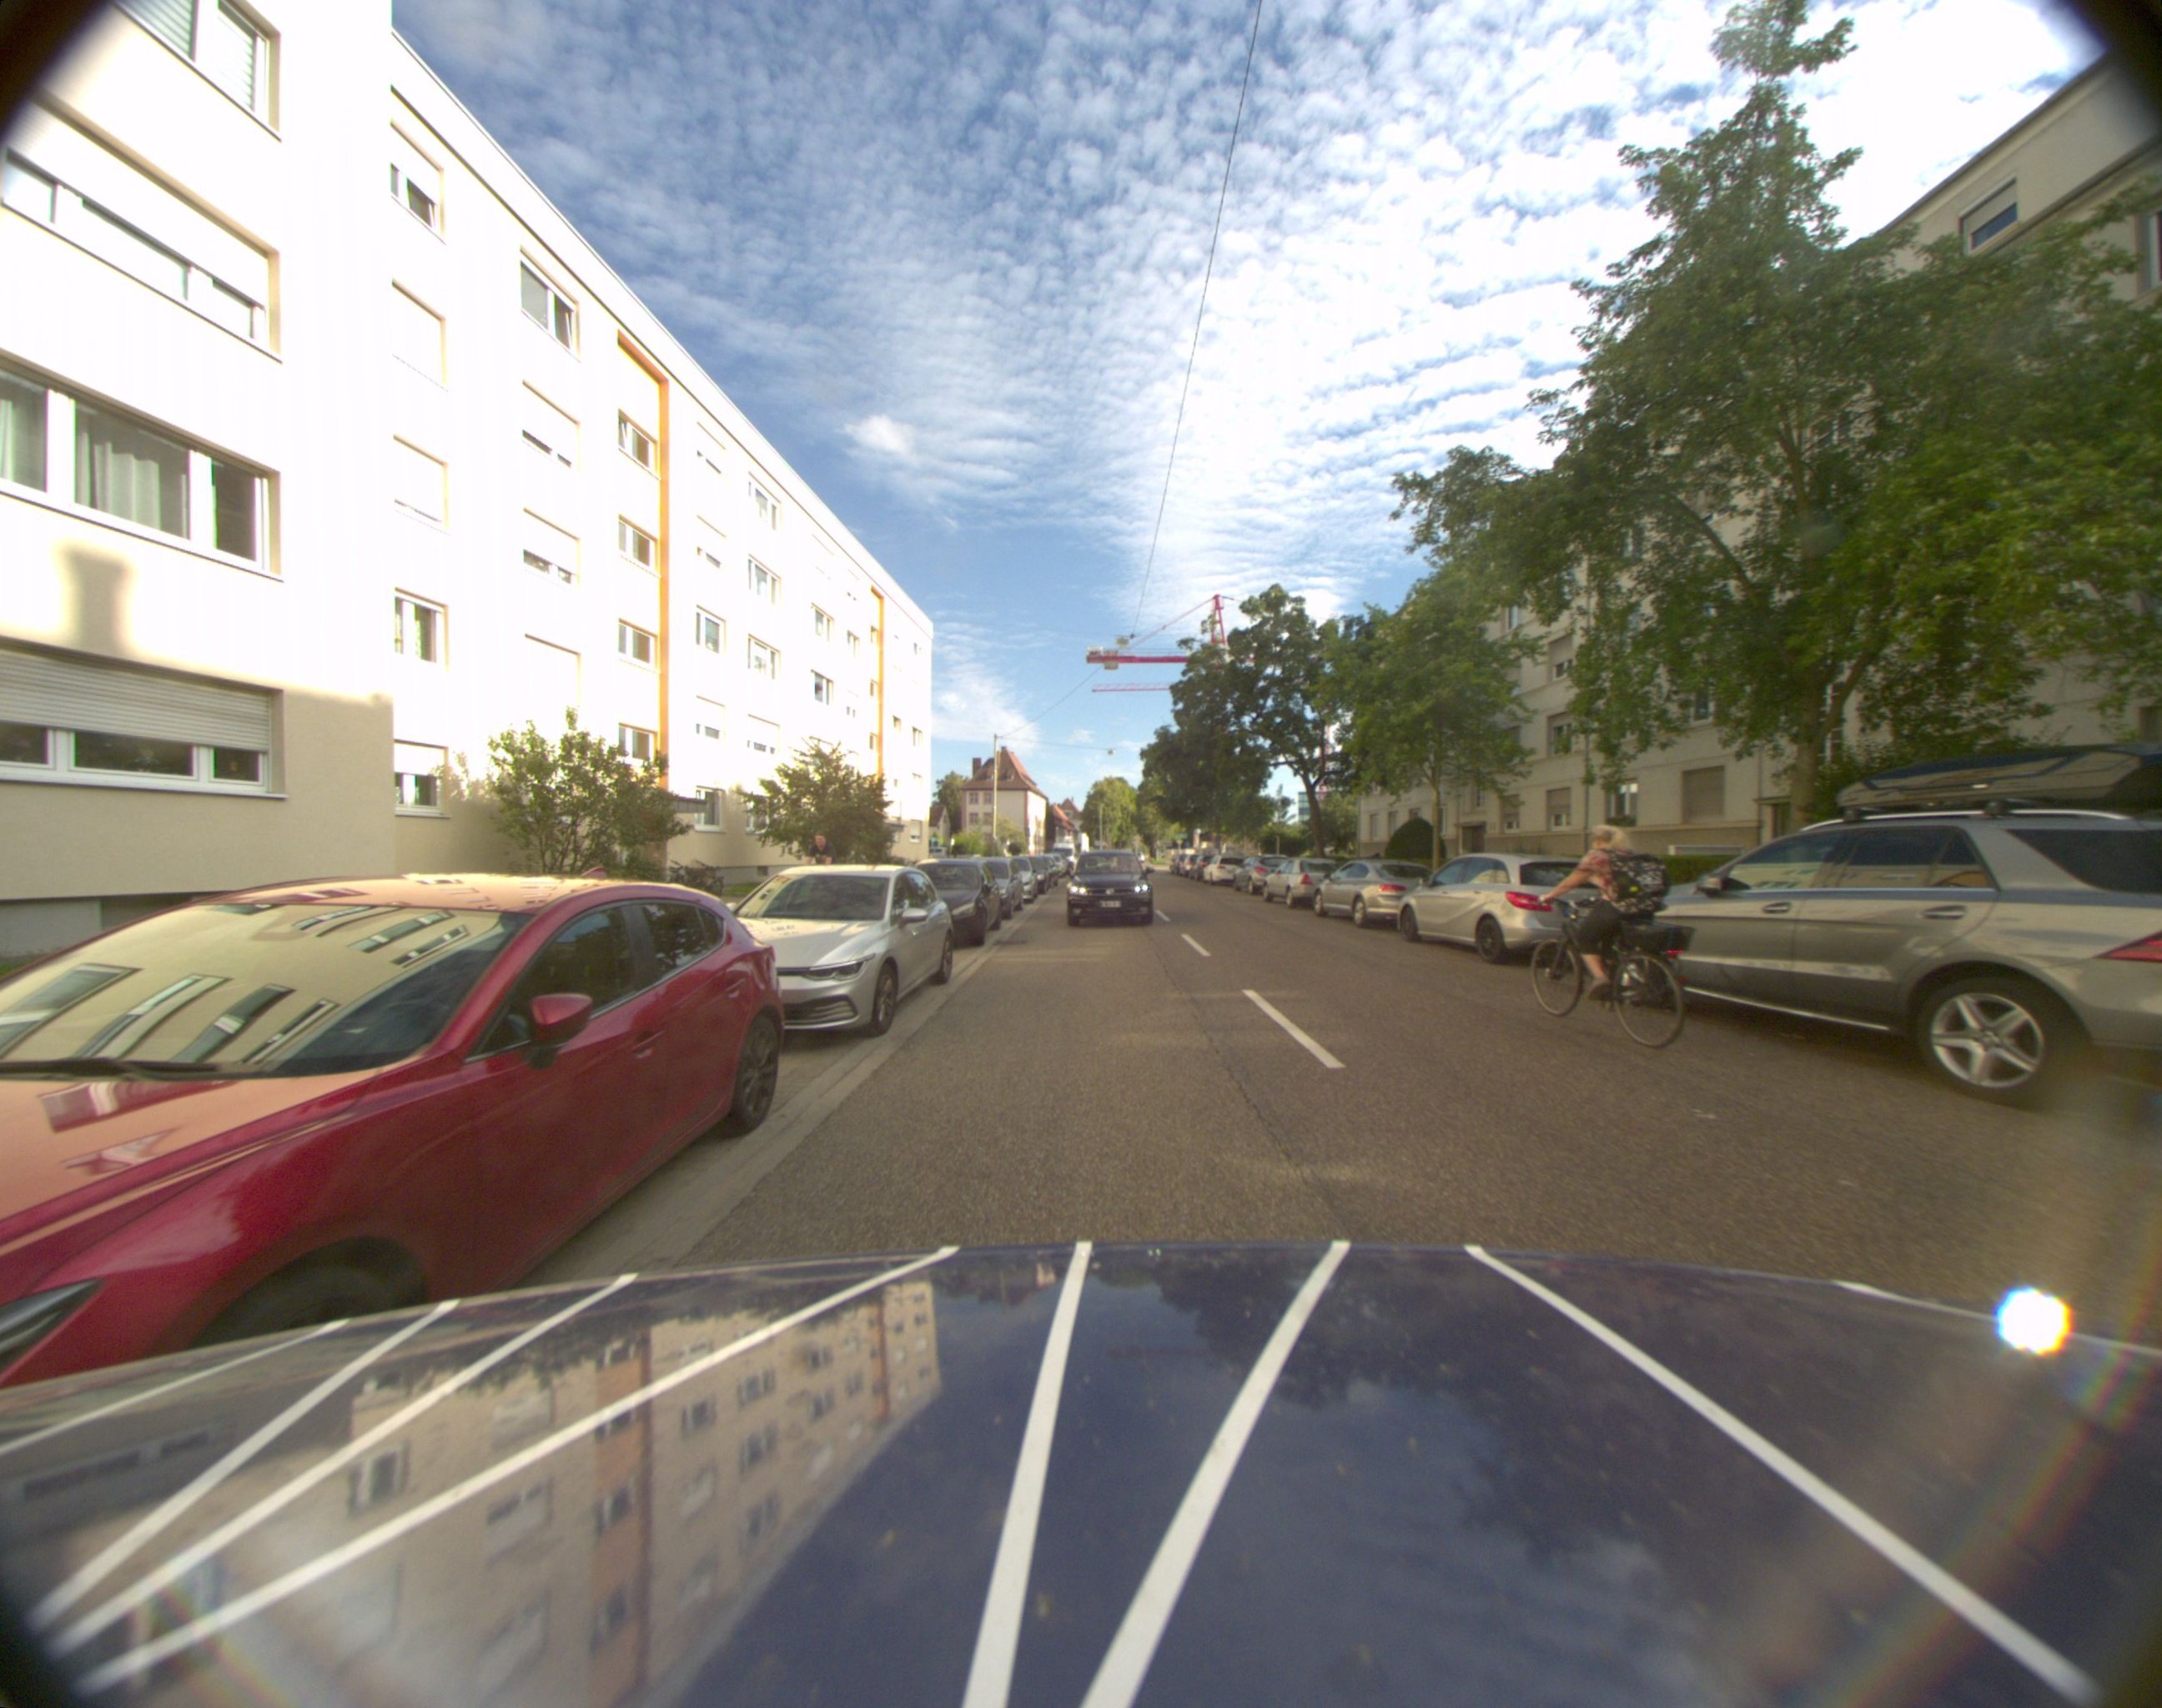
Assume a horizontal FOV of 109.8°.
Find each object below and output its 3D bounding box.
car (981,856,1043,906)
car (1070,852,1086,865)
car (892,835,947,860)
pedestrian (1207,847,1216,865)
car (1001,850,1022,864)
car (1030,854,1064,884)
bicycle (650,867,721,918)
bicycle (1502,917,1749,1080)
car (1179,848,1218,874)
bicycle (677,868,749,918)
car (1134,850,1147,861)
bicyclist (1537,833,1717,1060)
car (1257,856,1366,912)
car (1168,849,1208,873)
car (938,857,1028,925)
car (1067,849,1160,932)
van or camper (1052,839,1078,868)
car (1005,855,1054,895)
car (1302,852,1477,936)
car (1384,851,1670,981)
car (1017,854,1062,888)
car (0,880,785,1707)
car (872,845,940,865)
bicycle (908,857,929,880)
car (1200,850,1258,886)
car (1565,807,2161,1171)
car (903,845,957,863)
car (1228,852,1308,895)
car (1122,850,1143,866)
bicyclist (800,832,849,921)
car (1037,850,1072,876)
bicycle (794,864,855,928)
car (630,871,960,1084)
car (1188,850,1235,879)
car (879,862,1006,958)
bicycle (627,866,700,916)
[{"bbox_3d":[-2.213,0.828,25.310,1.704,1.455,4.179,1,0,-1],"label":"car"},{"bbox_3d":[-0.293,0.472,90.566,1.662,1.477,4.001,0,0,3],"label":"car"},{"bbox_3d":[-14.539,-0.569,68.477,4.276,2.179,2.368,0,1,9],"label":"car"},{"bbox_3d":[13.225,0.219,76.851,0.743,1.758,0.775,-1,1,0],"label":"pedestrian"},{"bbox_3d":[-8.352,0.328,91.640,1.888,1.709,4.091,0,0,4],"label":"car"},{"bbox_3d":[-1.797,0.751,40.657,1.688,1.459,4.205,1,0,-2],"label":"car"},{"bbox_3d":[-9.183,0.862,17.724,0.503,1.024,2.095,2,1,1],"label":"bicycle"},{"bbox_3d":[4.121,1.039,5.966,0.643,0.918,1.858,0,0,1],"label":"bicycle"},{"bbox_3d":[7.217,0.410,47.053,1.825,1.477,4.369,2,0,1],"label":"car"},{"bbox_3d":[-8.586,0.880,17.818,0.595,1.024,2.119,2,1,1],"label":"bicycle"},{"bbox_3d":[9.033,0.186,115.965,1.834,1.659,4.084,0,0,1],"label":"car"},{"bbox_3d":[4.128,0.644,5.827,0.643,1.591,0.990,1,1,1],"label":"bicyclist"},{"bbox_3d":[6.571,0.786,22.219,1.742,1.385,4.665,2,0,0],"label":"car"},{"bbox_3d":[7.252,0.434,51.894,1.932,1.477,4.419,2,0,-1],"label":"car"},{"bbox_3d":[-2.422,0.872,19.771,1.688,1.477,4.293,1,1,1],"label":"car"},{"bbox_3d":[0.702,0.746,17.593,1.859,1.673,4.000,-1,0,1],"label":"car"},{"bbox_3d":[-1.428,-0.085,70.317,2.165,2.512,5.913,2,0,1],"label":"van or camper"},{"bbox_3d":[-1.989,0.792,30.477,1.688,1.492,3.873,1,0,0],"label":"car"},{"bbox_3d":[6.533,0.747,16.810,1.860,1.477,4.944,3,0,1],"label":"car"},{"bbox_3d":[6.447,0.766,11.703,1.860,1.564,4.460,1,0,2],"label":"car"},{"bbox_3d":[-1.864,0.740,35.402,1.687,1.427,4.207,1,0,2],"label":"car"},{"bbox_3d":[-2.576,0.942,2.545,1.733,1.506,4.189,1,1,-3],"label":"car"},{"bbox_3d":[-13.306,0.070,57.778,4.675,1.473,1.871,0,1,6],"label":"car"},{"bbox_3d":[-7.673,0.689,35.972,0.597,0.992,1.692,-1,2,1],"label":"bicycle"},{"bbox_3d":[6.978,0.618,36.275,1.860,1.477,4.798,3,0,1],"label":"car"},{"bbox_3d":[6.251,0.677,5.791,1.882,1.782,4.970,2,0,0],"label":"car"},{"bbox_3d":[-12.919,-0.027,64.974,4.084,1.473,1.872,0,1,10],"label":"car"},{"bbox_3d":[7.032,0.698,29.118,1.860,1.477,4.683,1,0,0],"label":"car"},{"bbox_3d":[4.929,0.383,73.285,1.744,1.493,4.009,0,0,0],"label":"car"},{"bbox_3d":[-4.940,0.413,14.693,0.625,1.668,0.893,0,1,0],"label":"bicyclist"},{"bbox_3d":[-1.621,0.534,47.910,1.767,1.515,4.330,2,1,3],"label":"car"},{"bbox_3d":[-4.959,0.779,14.815,0.525,1.128,1.929,0,1,0],"label":"bicycle"},{"bbox_3d":[-2.455,0.958,7.662,1.666,1.408,4.059,1,1,2],"label":"car"},{"bbox_3d":[7.093,0.526,41.660,1.860,1.477,4.683,0,0,1],"label":"car"},{"bbox_3d":[-2.458,0.931,14.352,1.666,1.482,3.941,1,0,0],"label":"car"},{"bbox_3d":[-9.705,0.824,17.737,0.503,1.024,2.069,2,1,1],"label":"bicycle"}]
